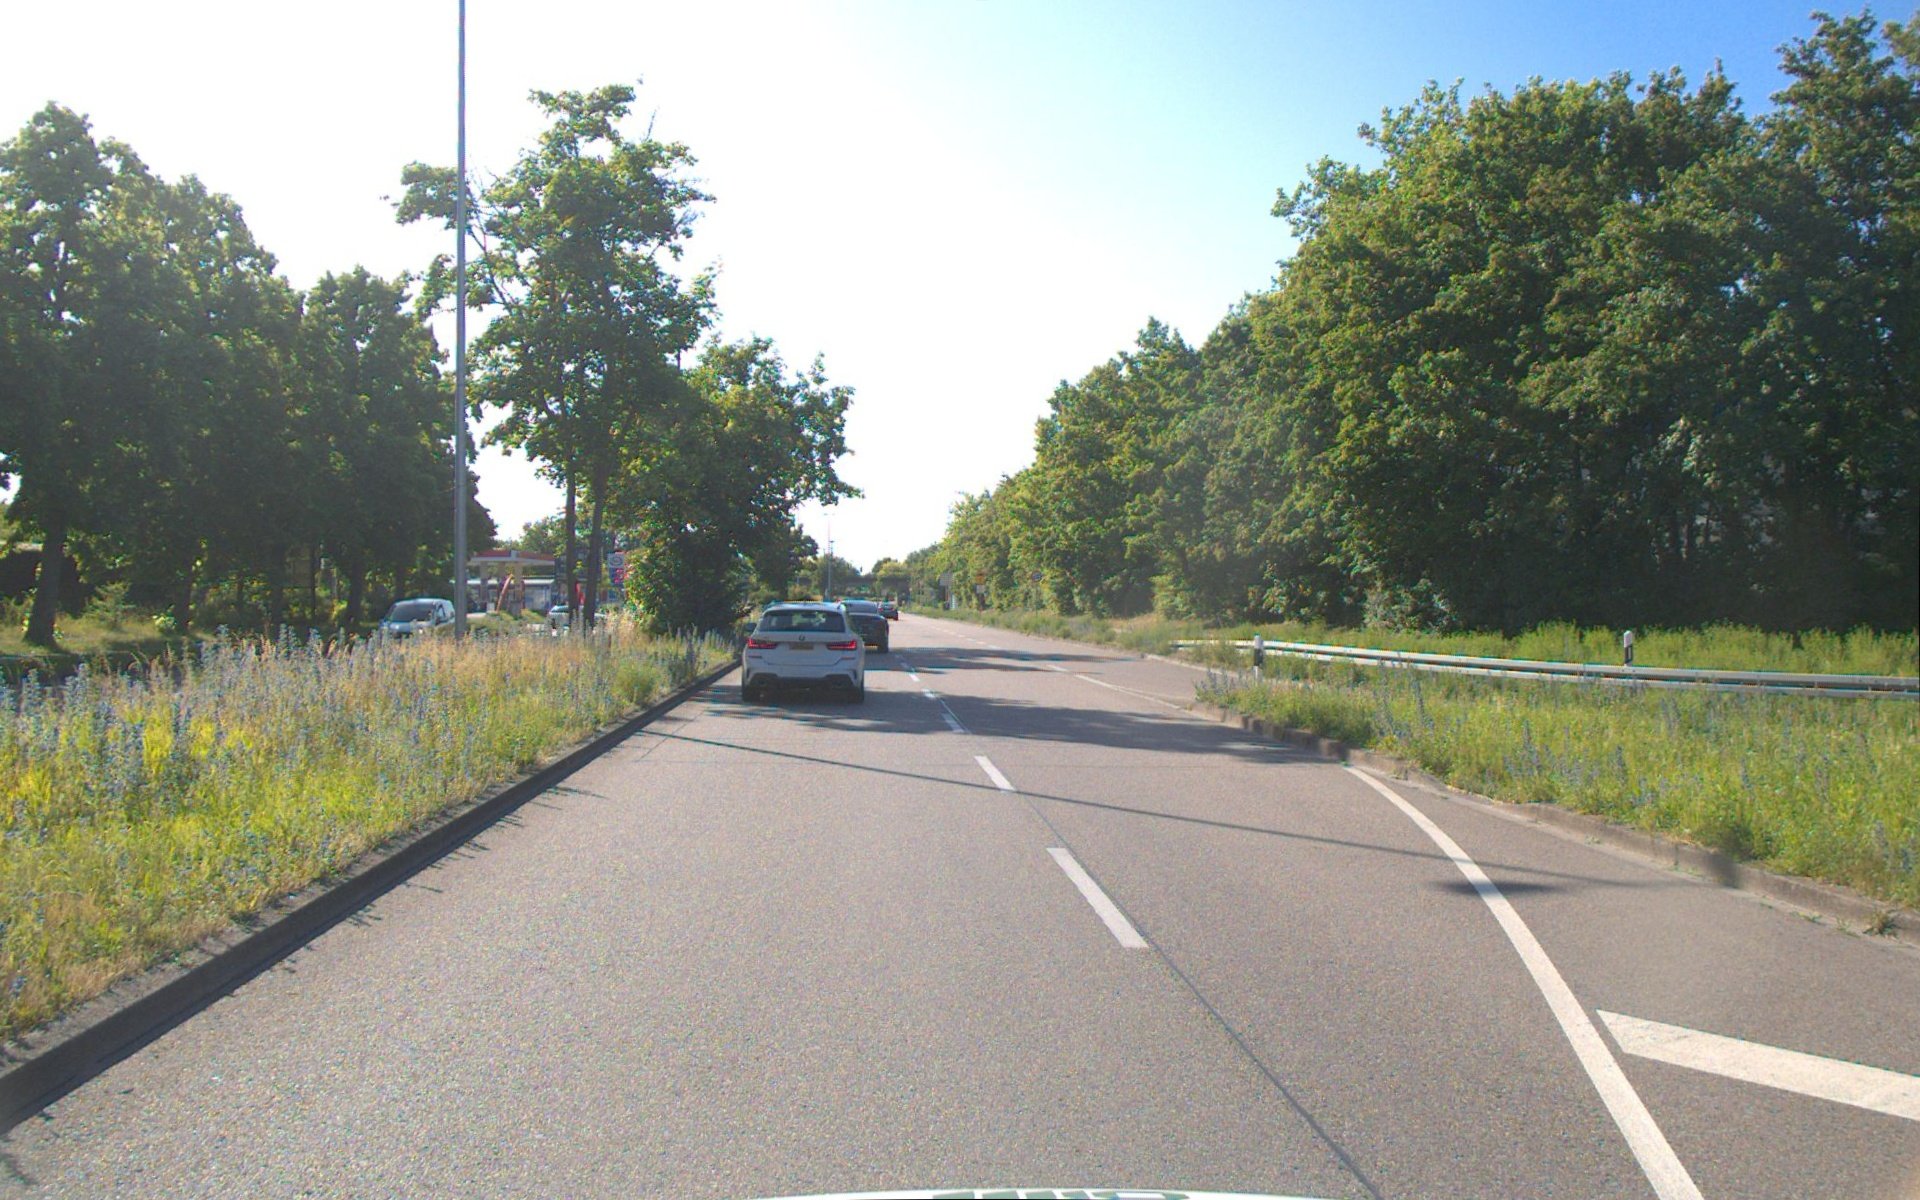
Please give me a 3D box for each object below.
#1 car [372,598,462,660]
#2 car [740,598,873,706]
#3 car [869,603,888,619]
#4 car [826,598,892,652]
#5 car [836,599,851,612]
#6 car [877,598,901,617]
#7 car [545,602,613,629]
[{"bbox_3d":[-16.214,0.829,49.567,1.673,1.777,4.161,0,0,-5],"label":"car"},{"bbox_3d":[-2.285,0.728,25.393,1.825,1.480,4.544,1,0,-4],"label":"car"},{"bbox_3d":[-8.075,1.064,163.421,1.737,1.583,3.828,-1,0,-6],"label":"car"},{"bbox_3d":[-2.957,0.689,48.103,1.825,1.480,4.543,-1,0,-4],"label":"car"},{"bbox_3d":[-14.431,0.721,205.063,1.825,1.592,4.543,0,0,-4],"label":"car"},{"bbox_3d":[-5.913,0.638,137.792,1.825,1.525,4.332,0,0,-4],"label":"car"},{"bbox_3d":[-24.569,1.007,106.675,4.032,1.691,1.890,-1,0,29],"label":"car"}]
